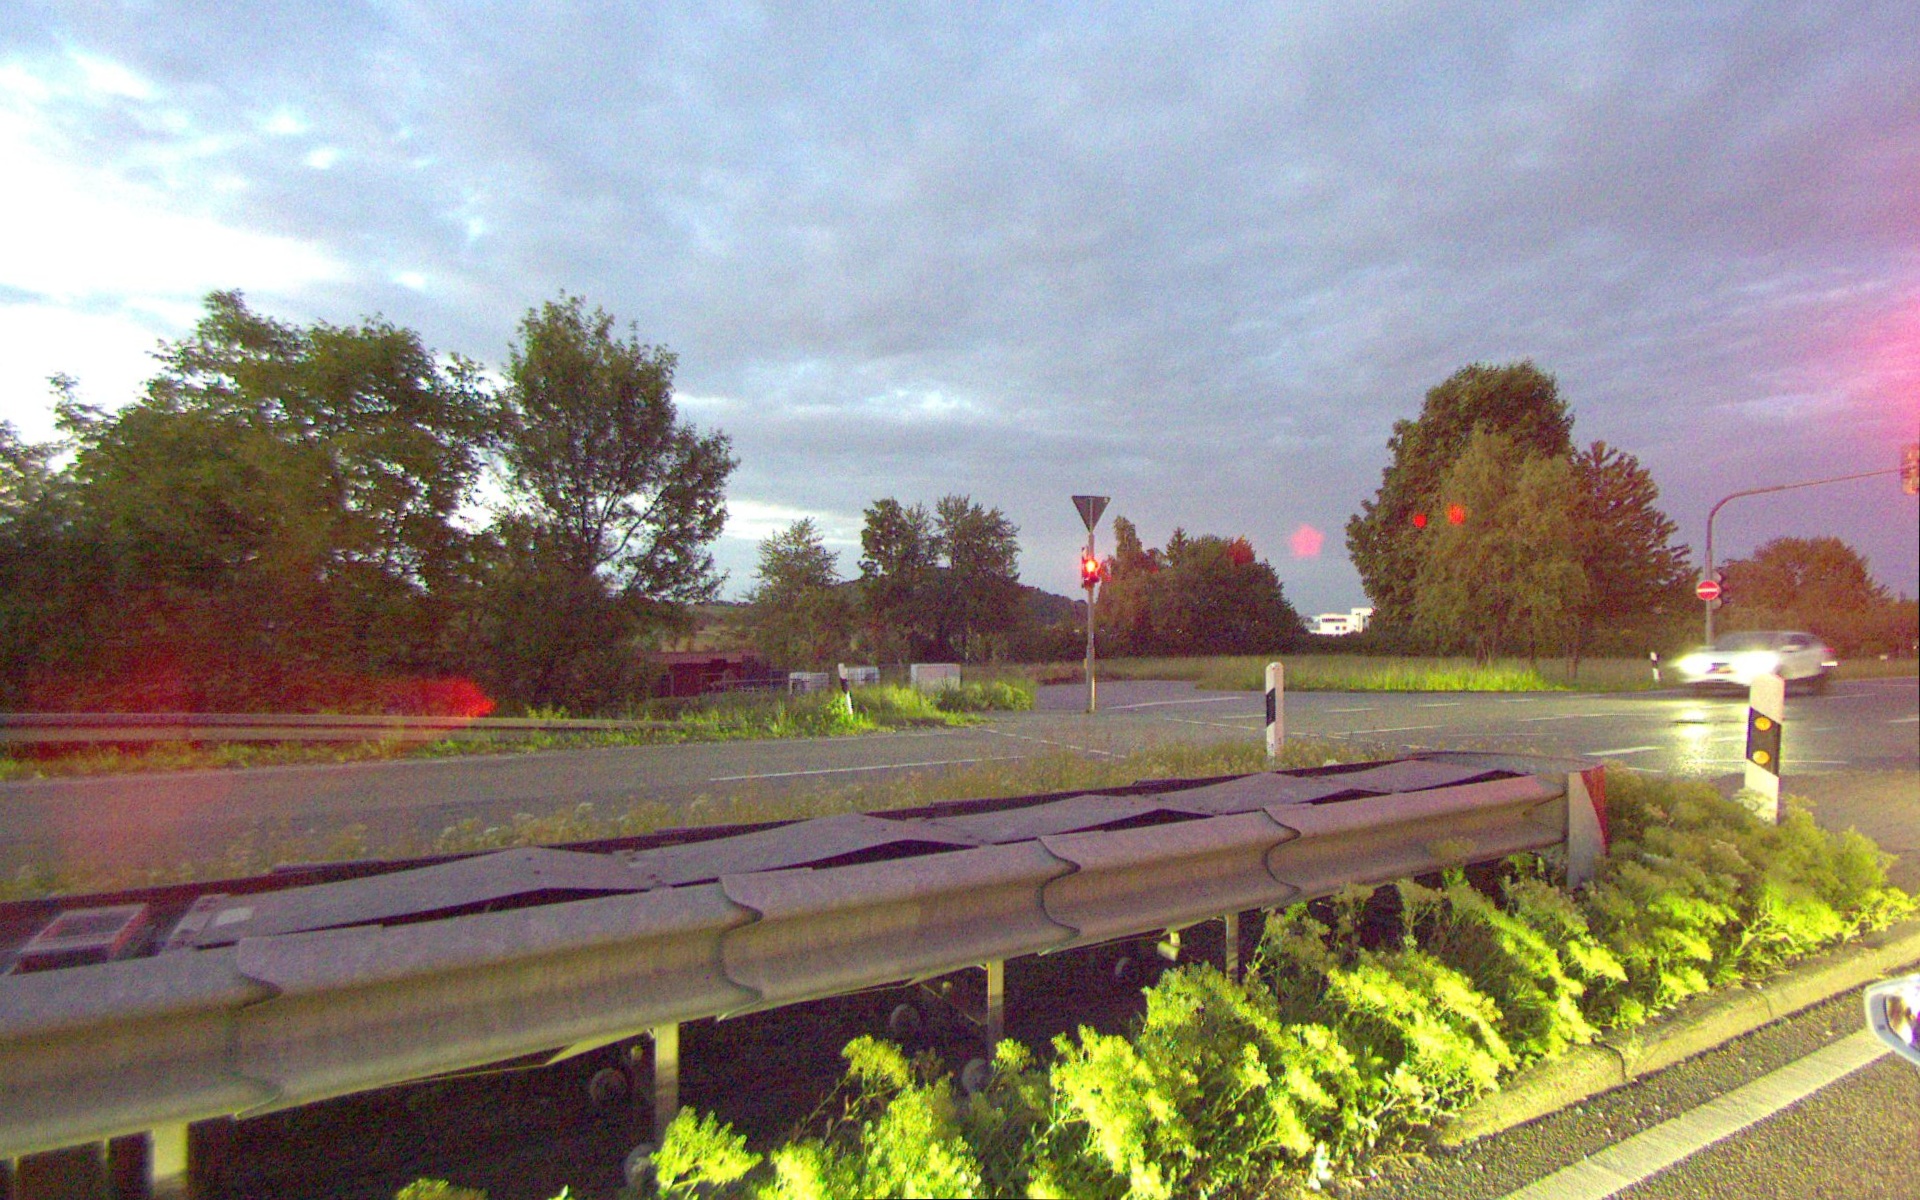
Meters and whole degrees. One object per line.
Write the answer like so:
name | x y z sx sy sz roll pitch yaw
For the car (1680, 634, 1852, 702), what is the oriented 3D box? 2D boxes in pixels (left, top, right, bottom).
car | 20.107 1.636 25.030 4.247 1.539 1.984 1 -2 -30
